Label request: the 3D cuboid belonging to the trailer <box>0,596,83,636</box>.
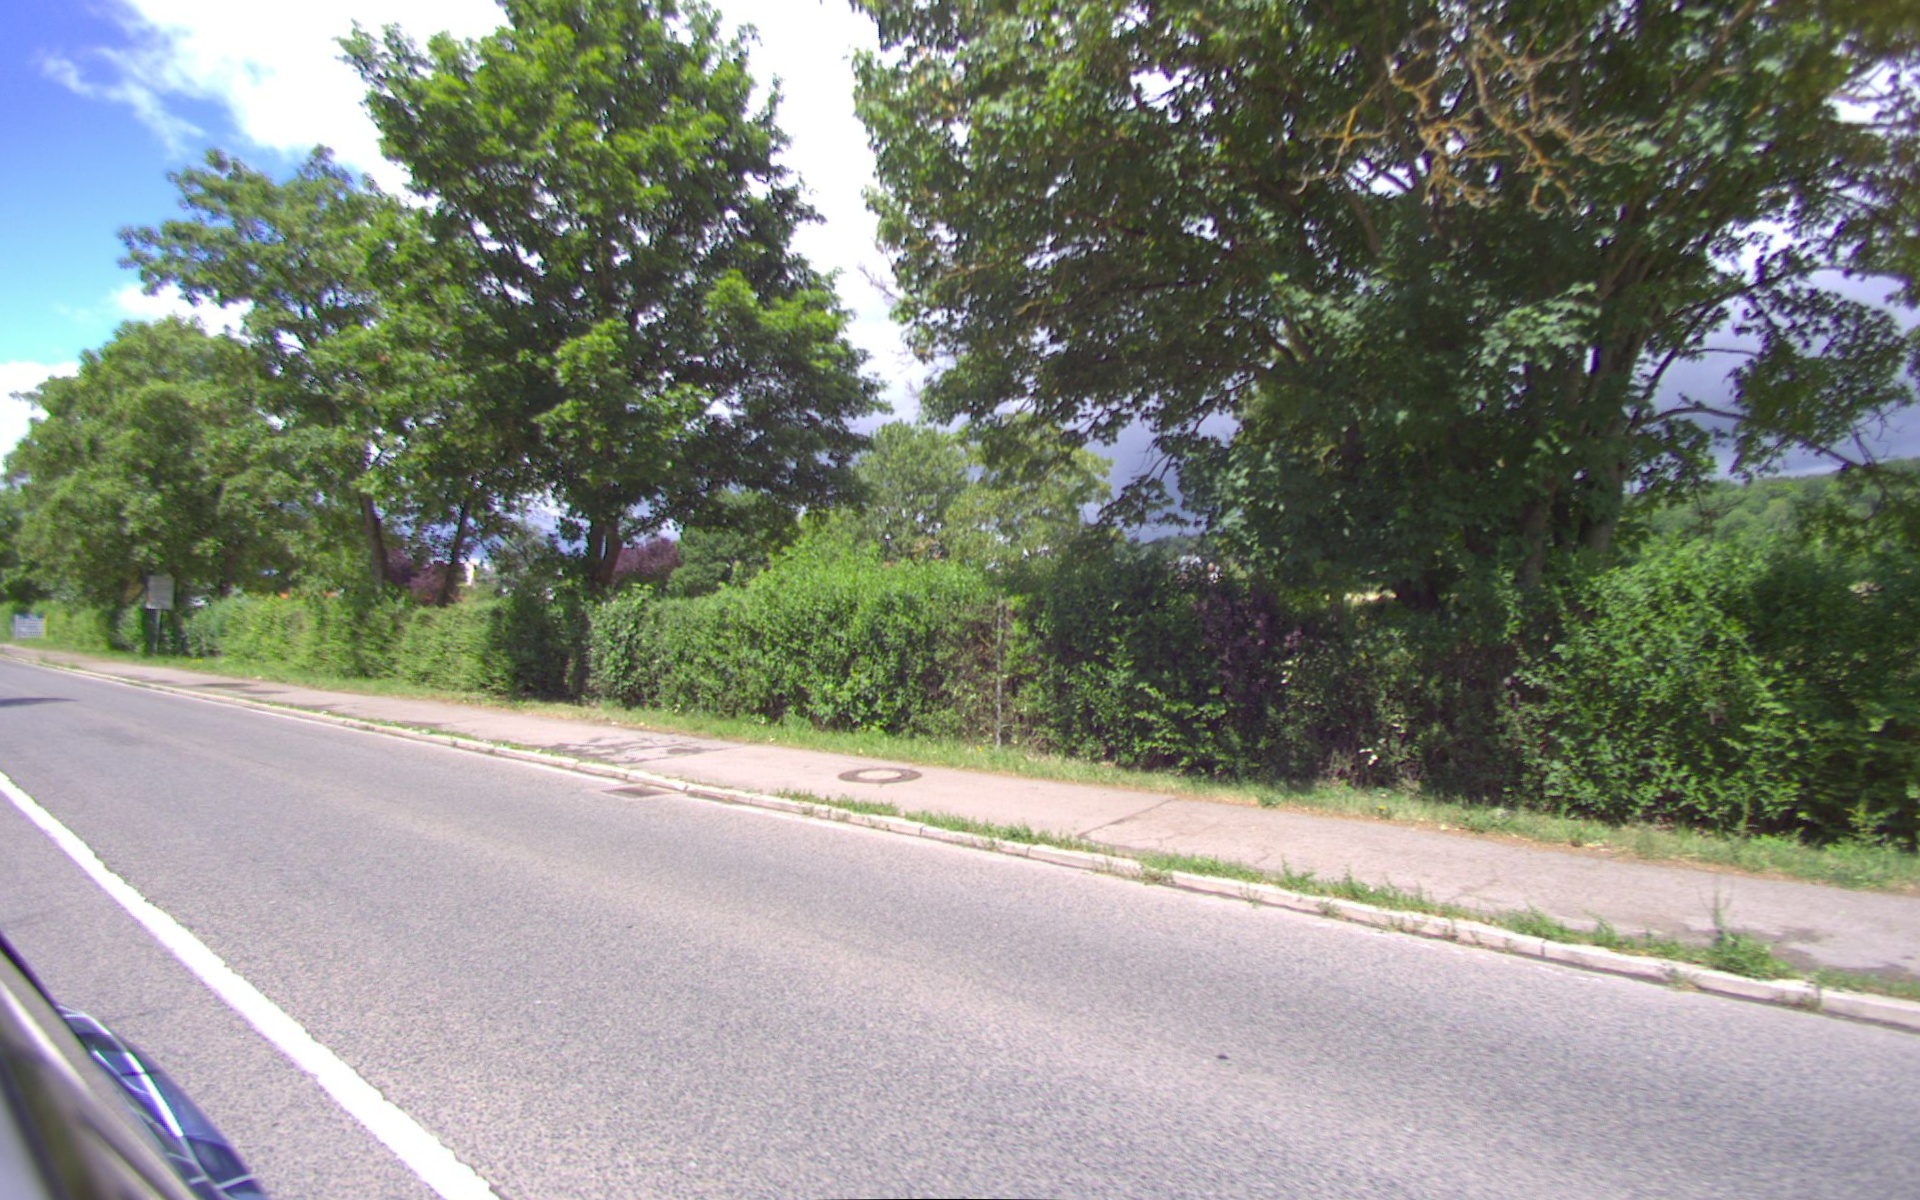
[{"bbox_3d":[-98.458,1.721,106.030,3.301,4.114,9.386,0,-1,25],"label":"trailer"}]
